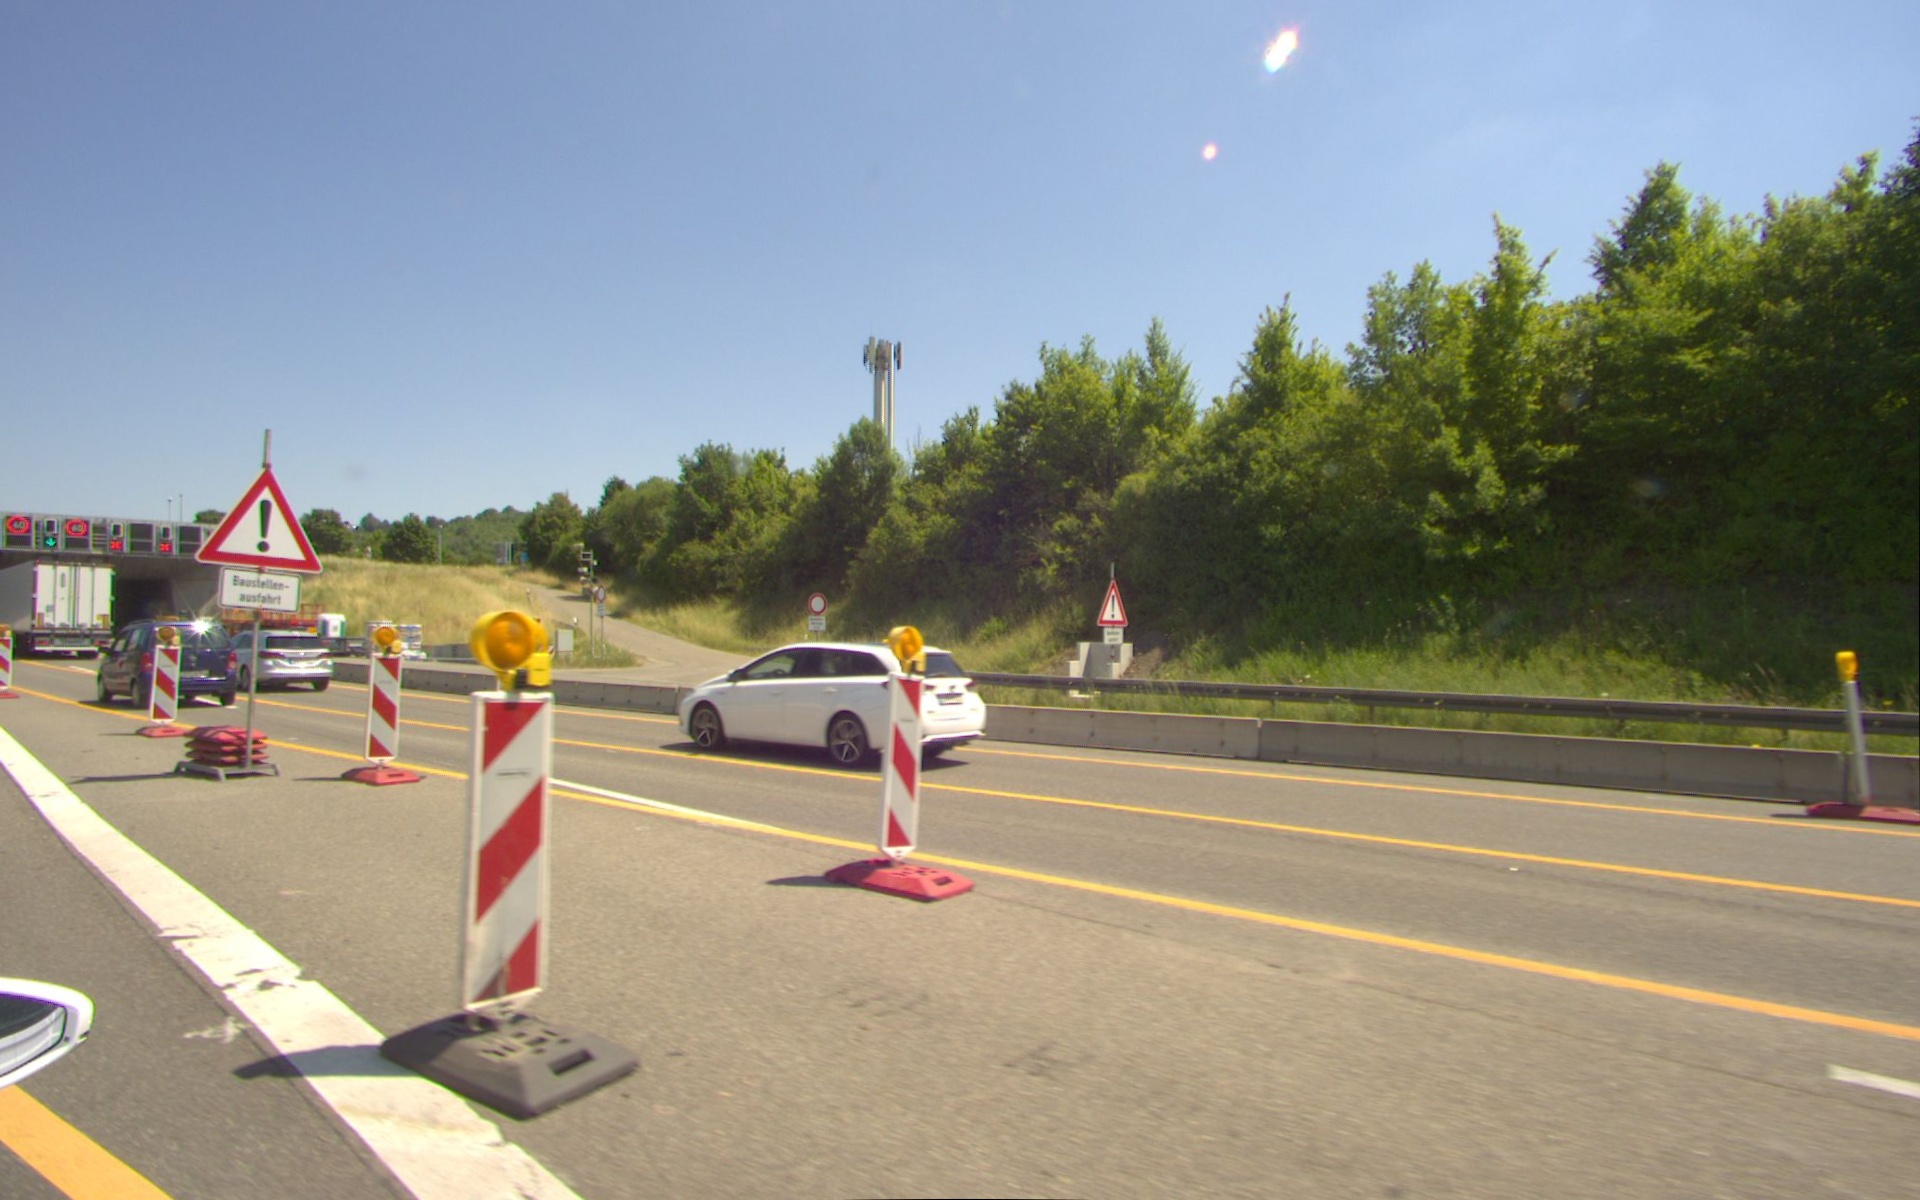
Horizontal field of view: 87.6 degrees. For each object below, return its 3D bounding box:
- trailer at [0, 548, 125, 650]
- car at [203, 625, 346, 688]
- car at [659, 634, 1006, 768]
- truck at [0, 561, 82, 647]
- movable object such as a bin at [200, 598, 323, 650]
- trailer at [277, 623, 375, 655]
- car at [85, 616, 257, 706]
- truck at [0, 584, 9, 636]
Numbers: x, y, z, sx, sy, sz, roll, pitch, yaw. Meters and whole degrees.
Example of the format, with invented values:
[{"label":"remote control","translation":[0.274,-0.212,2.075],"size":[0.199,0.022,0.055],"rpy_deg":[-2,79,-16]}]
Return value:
[{"label":"trailer","translation":[-41.771,0.148,46.253],"size":[13.936,4.113,2.720],"rpy_deg":[-2,-3,41]},{"label":"car","translation":[-17.674,1.419,25.735],"size":[4.597,1.483,1.808],"rpy_deg":[-1,-3,39]},{"label":"car","translation":[-1.792,1.258,13.213],"size":[4.594,1.482,1.810],"rpy_deg":[-3,-4,37]},{"label":"truck","translation":[-46.932,0.295,50.833],"size":[5.859,4.084,2.733],"rpy_deg":[-1,-3,41]},{"label":"movable object such as a bin","translation":[-45.728,1.550,65.231],"size":[14.531,3.050,3.096],"rpy_deg":[-1,0,41]},{"label":"trailer","translation":[-35.005,2.094,55.244],"size":[6.155,1.589,2.585],"rpy_deg":[-1,0,37]},{"label":"car","translation":[-16.321,1.207,20.634],"size":[4.596,1.663,1.808],"rpy_deg":[-1,-3,39]},{"label":"truck","translation":[-89.088,1.062,90.152],"size":[16.349,4.388,3.387],"rpy_deg":[-2,-4,41]}]
